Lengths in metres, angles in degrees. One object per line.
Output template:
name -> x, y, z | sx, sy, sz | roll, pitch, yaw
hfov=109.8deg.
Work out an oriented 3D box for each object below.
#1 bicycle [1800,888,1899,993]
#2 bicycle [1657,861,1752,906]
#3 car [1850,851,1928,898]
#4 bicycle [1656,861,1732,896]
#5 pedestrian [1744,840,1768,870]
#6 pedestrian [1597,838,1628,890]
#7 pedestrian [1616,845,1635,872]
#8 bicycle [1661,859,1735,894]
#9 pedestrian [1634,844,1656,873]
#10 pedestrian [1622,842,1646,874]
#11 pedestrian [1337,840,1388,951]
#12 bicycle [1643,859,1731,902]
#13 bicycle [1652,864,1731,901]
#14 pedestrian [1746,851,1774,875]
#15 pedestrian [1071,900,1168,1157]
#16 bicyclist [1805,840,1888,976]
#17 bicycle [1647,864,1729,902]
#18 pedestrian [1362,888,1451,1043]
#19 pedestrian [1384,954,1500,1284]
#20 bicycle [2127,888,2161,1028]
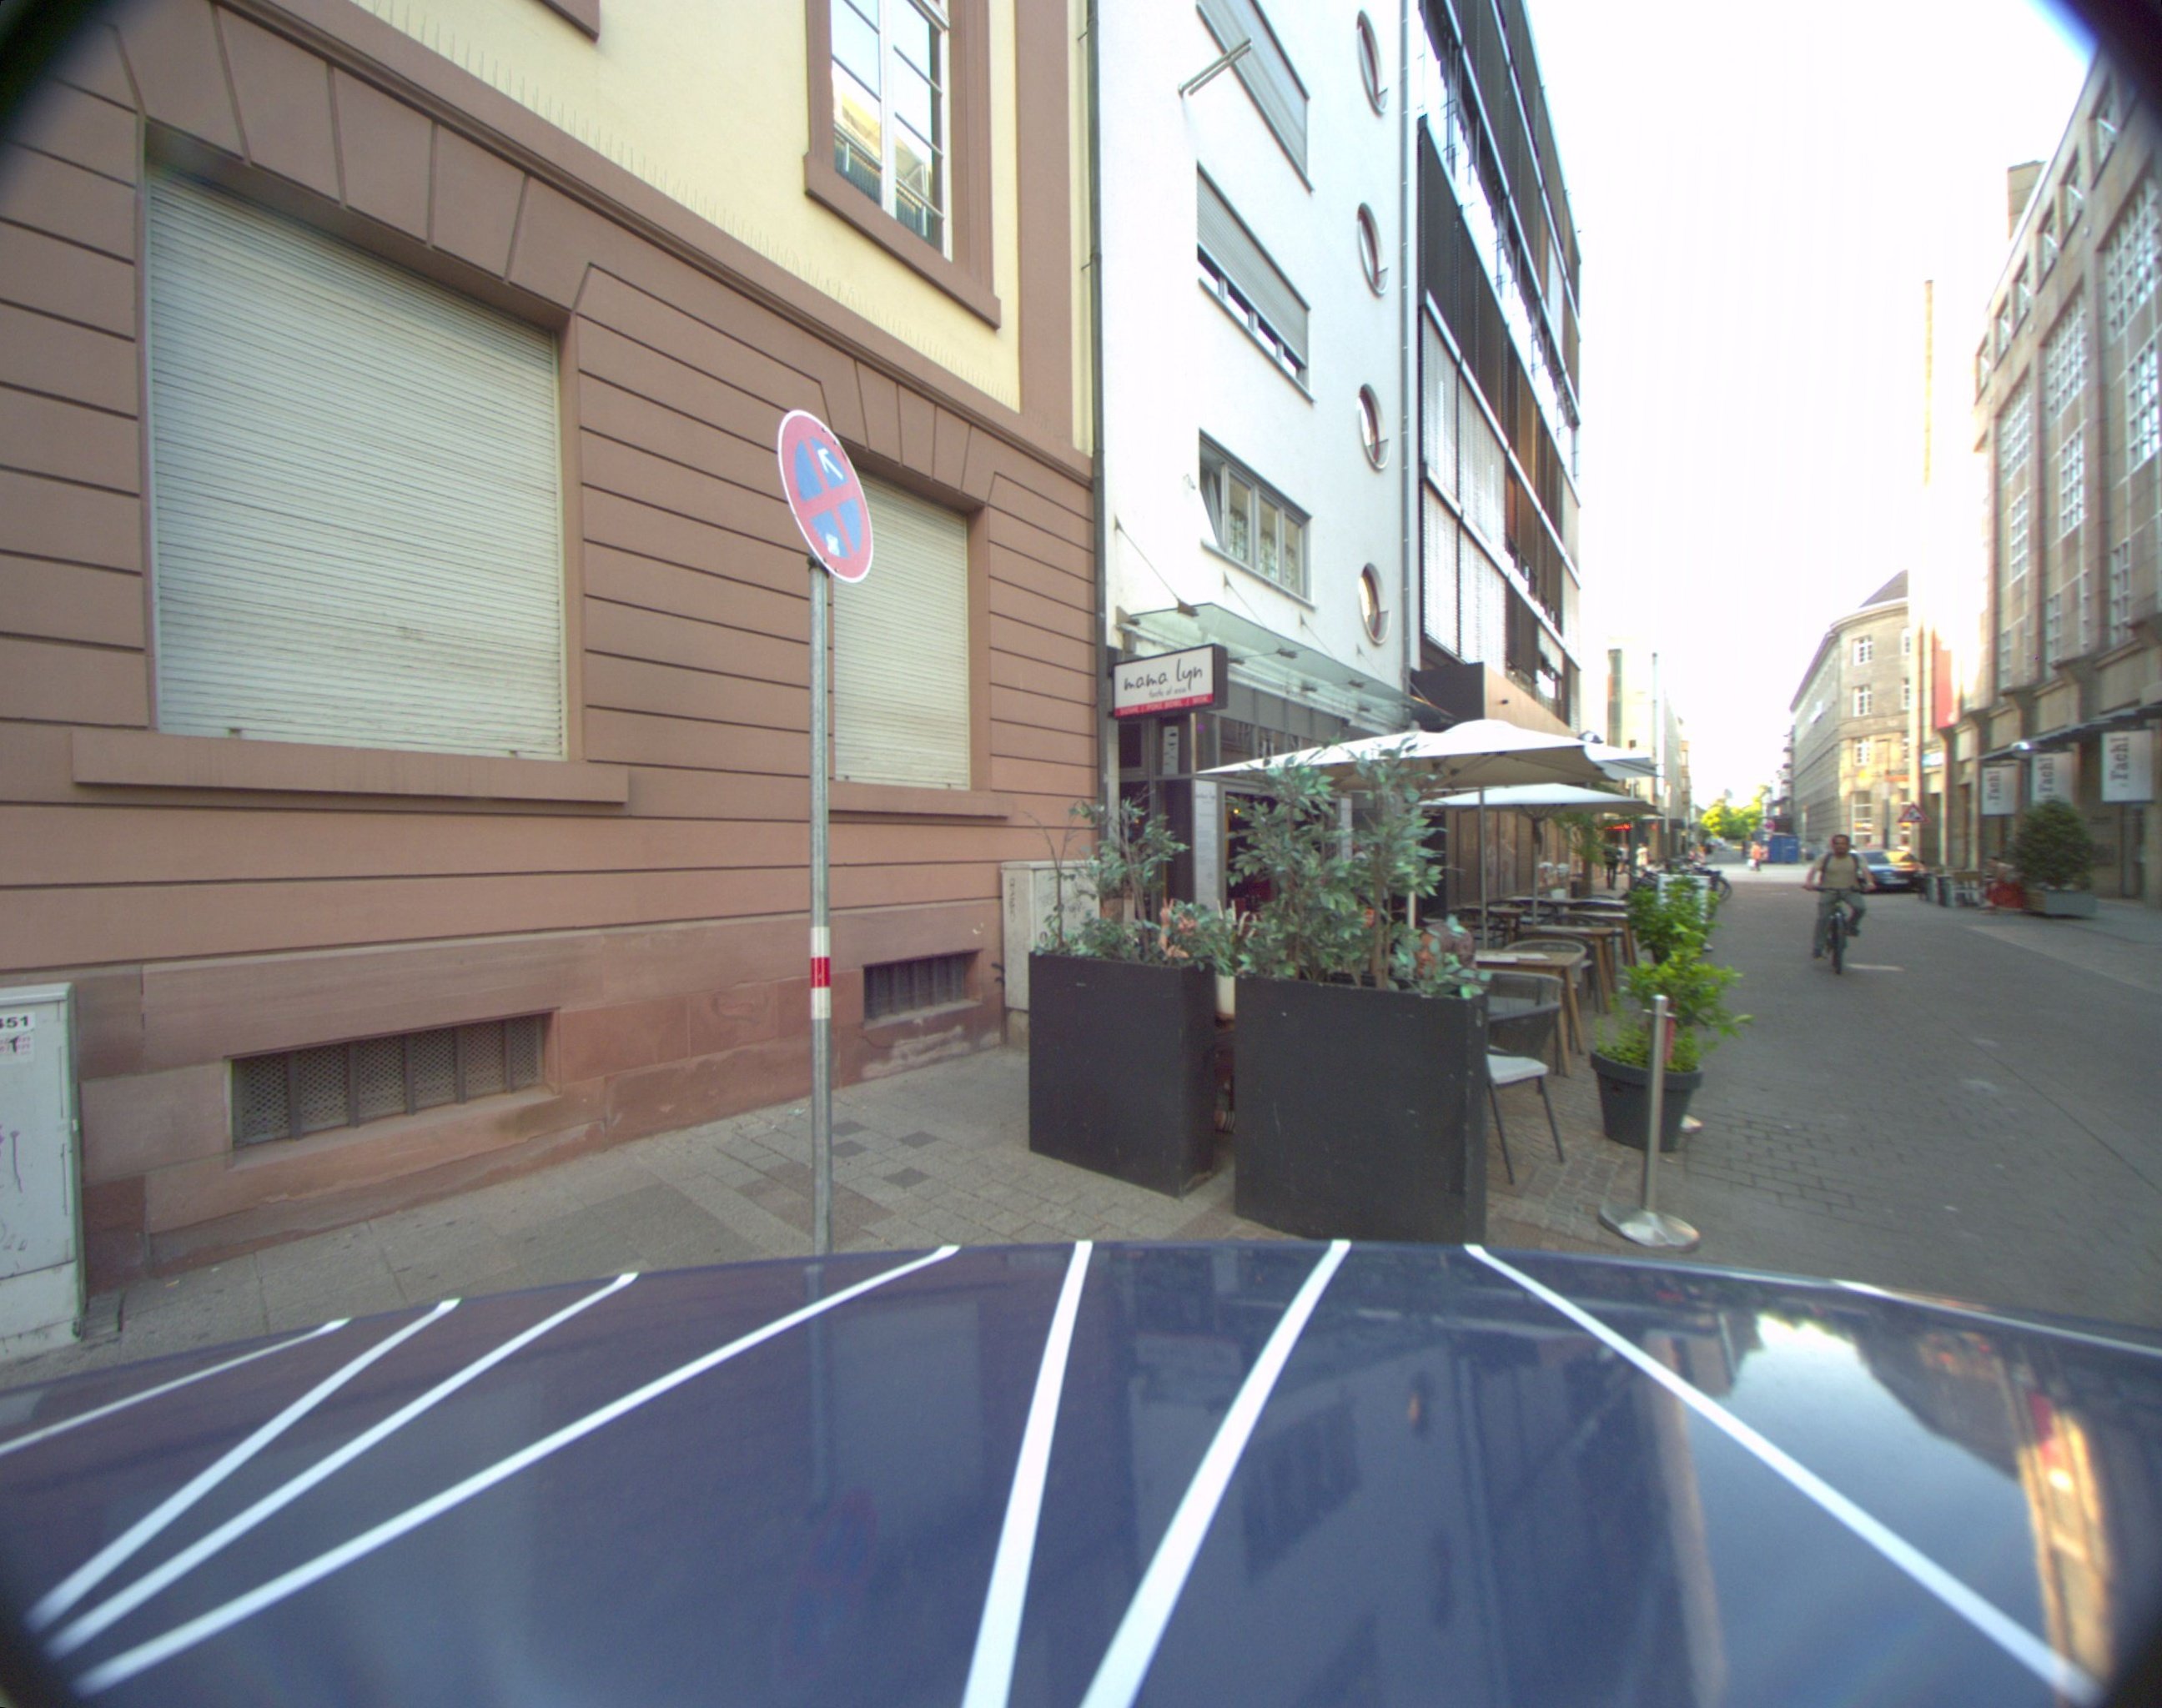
bicycle -> 9.899, 1.053, 9.847 | 0.698, 1.121, 2.009 | 0, 0, 39
bicycle -> 18.048, 0.836, 22.043 | 2.033, 1.161, 0.667 | 3, 3, 39
car -> 26.512, 0.627, 25.004 | 1.599, 1.414, 3.611 | 0, 0, 44
bicycle -> 21.199, 0.844, 26.316 | 2.034, 1.161, 0.620 | 0, 1, 39
pedestrian -> 37.033, 0.053, 41.693 | 0.765, 1.628, 0.668 | -1, 2, -7
pedestrian -> 18.820, 0.342, 26.907 | 0.802, 1.825, 0.676 | 0, 1, 42
pedestrian -> 31.132, 0.278, 43.450 | 0.635, 1.516, 0.783 | -1, 2, 12
bicycle -> 21.816, 0.777, 26.906 | 2.034, 1.209, 0.620 | 0, 1, 39
pedestrian -> 32.174, 0.230, 43.322 | 0.636, 1.612, 0.782 | -1, 2, -9
pedestrian -> 28.532, 0.200, 39.191 | 0.782, 1.612, 0.636 | -1, 2, 1
pedestrian -> 4.621, 0.652, 12.475 | 0.638, 1.762, 0.603 | 0, 1, 35
bicycle -> 18.670, 0.801, 23.452 | 2.033, 1.161, 0.620 | 3, 3, 39
bicycle -> 20.242, 0.922, 25.218 | 2.034, 1.161, 0.620 | 0, 1, 39
pedestrian -> 44.719, 0.574, 50.031 | 0.993, 1.563, 0.919 | -1, 1, -6
pedestrian -> 0.223, 0.926, 4.241 | 0.362, 1.298, 0.496 | 0, 1, 26
bicyclist -> 9.897, 0.661, 9.852 | 0.674, 1.660, 0.871 | 0, 1, 39
bicycle -> 19.474, 0.913, 24.421 | 2.034, 1.161, 0.620 | 0, 1, 39
pedestrian -> 3.301, 1.074, 7.675 | 0.574, 1.412, 0.870 | 0, 1, 41
pedestrian -> 1.520, 1.056, 3.190 | 0.399, 1.206, 0.384 | 0, 1, 31
bicycle -> 10.833, 0.910, 6.609 | 1.899, 1.261, 0.539 | -5, -2, 41
